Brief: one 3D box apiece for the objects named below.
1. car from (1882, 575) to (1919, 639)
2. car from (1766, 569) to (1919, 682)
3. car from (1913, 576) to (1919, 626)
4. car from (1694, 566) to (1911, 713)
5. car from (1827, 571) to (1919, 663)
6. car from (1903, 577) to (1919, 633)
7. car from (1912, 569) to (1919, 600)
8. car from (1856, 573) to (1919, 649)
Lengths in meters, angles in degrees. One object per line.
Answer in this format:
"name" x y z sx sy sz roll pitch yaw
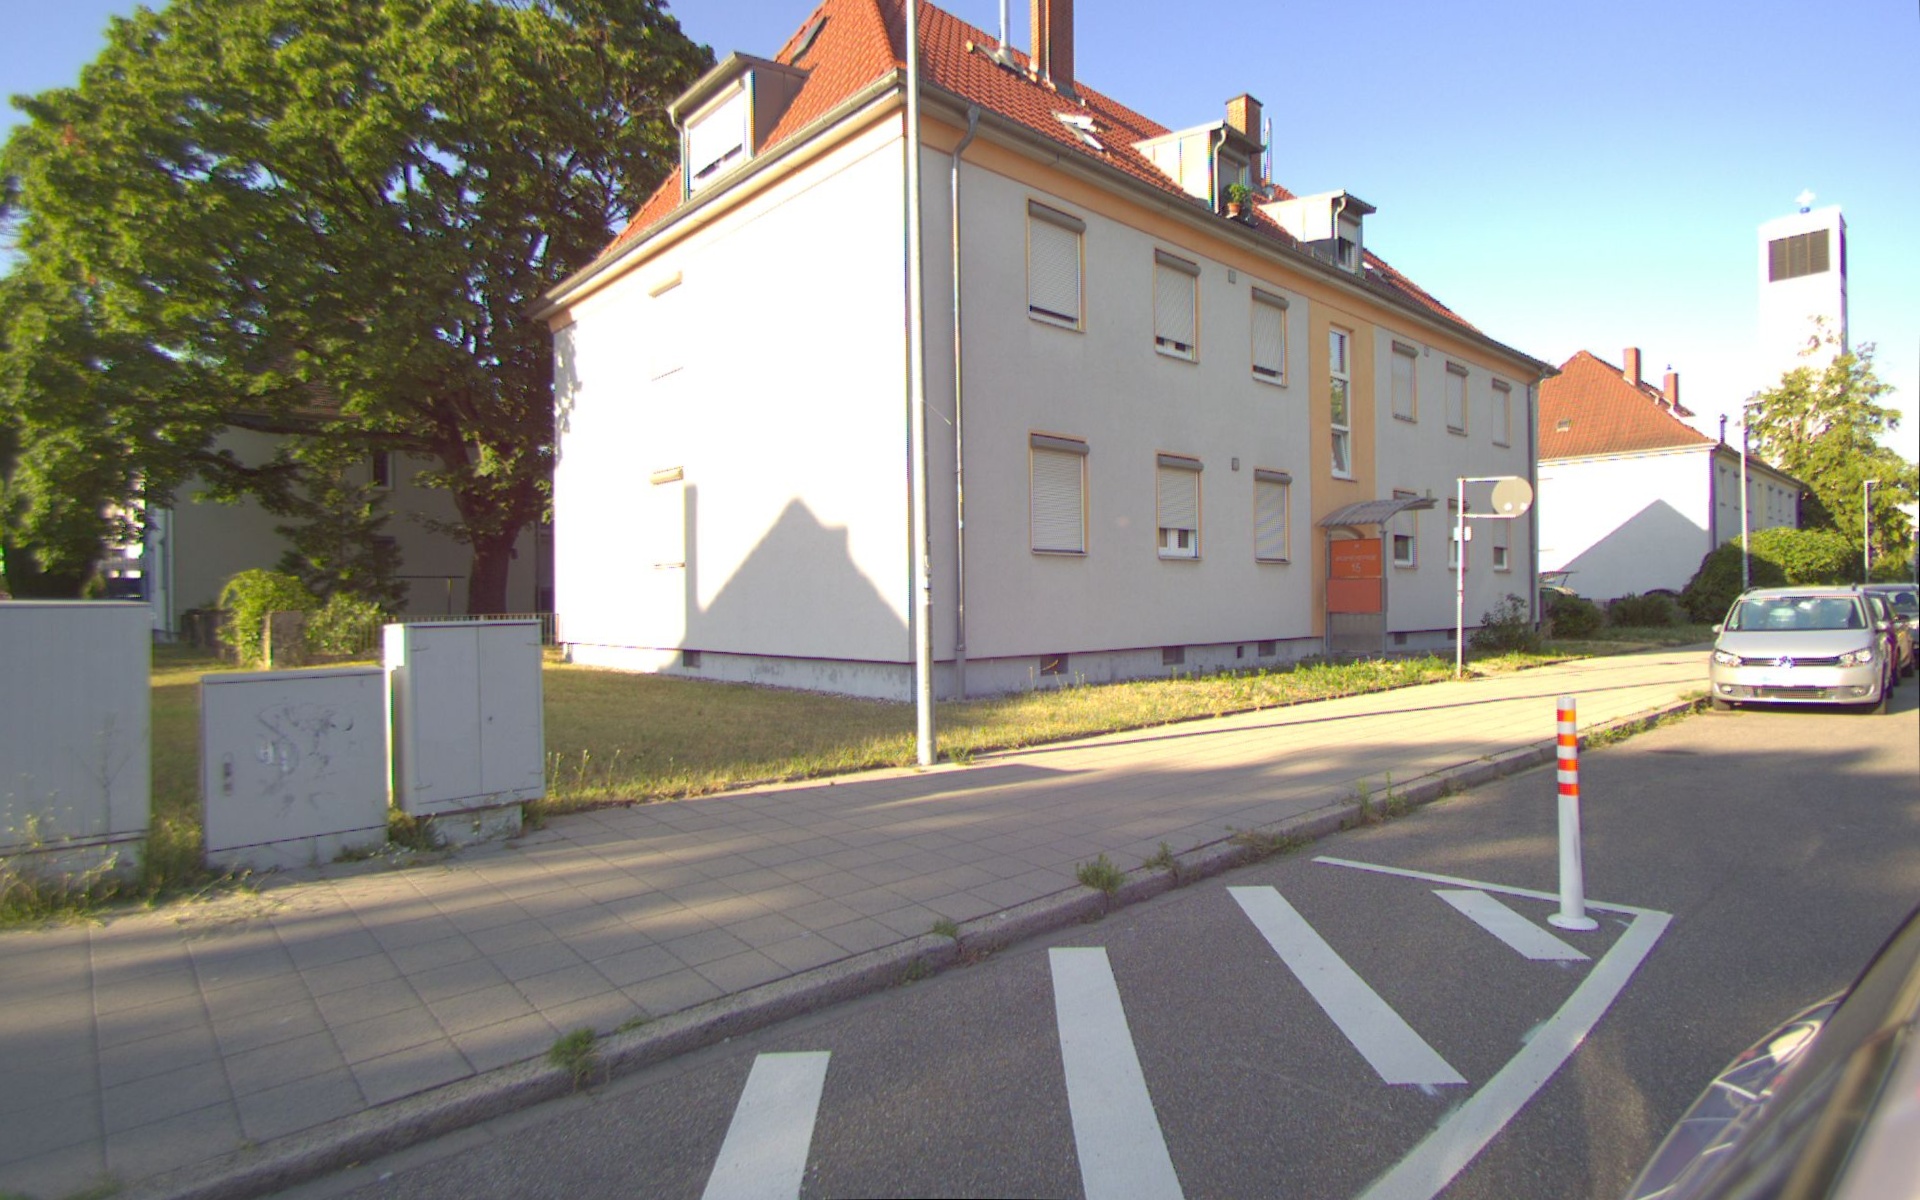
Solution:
"car" 27.200 0.144 28.293 3.935 1.717 1.845 -1 -1 -44
"car" 15.370 0.389 17.402 3.935 1.717 1.845 -1 -1 -44
"car" 34.850 -0.014 35.526 3.935 1.717 1.845 -1 -1 -44
"car" 11.609 0.460 13.851 3.935 1.717 1.845 -1 -1 -44
"car" 19.096 0.300 20.569 3.935 1.717 1.845 -1 -1 -44
"car" 31.152 0.088 31.908 3.935 1.717 1.845 -1 -1 -44
"car" 55.642 -0.929 57.672 3.935 1.717 1.845 -1 -1 -44
"car" 22.864 0.216 24.185 3.935 1.717 1.845 -1 -1 -44
